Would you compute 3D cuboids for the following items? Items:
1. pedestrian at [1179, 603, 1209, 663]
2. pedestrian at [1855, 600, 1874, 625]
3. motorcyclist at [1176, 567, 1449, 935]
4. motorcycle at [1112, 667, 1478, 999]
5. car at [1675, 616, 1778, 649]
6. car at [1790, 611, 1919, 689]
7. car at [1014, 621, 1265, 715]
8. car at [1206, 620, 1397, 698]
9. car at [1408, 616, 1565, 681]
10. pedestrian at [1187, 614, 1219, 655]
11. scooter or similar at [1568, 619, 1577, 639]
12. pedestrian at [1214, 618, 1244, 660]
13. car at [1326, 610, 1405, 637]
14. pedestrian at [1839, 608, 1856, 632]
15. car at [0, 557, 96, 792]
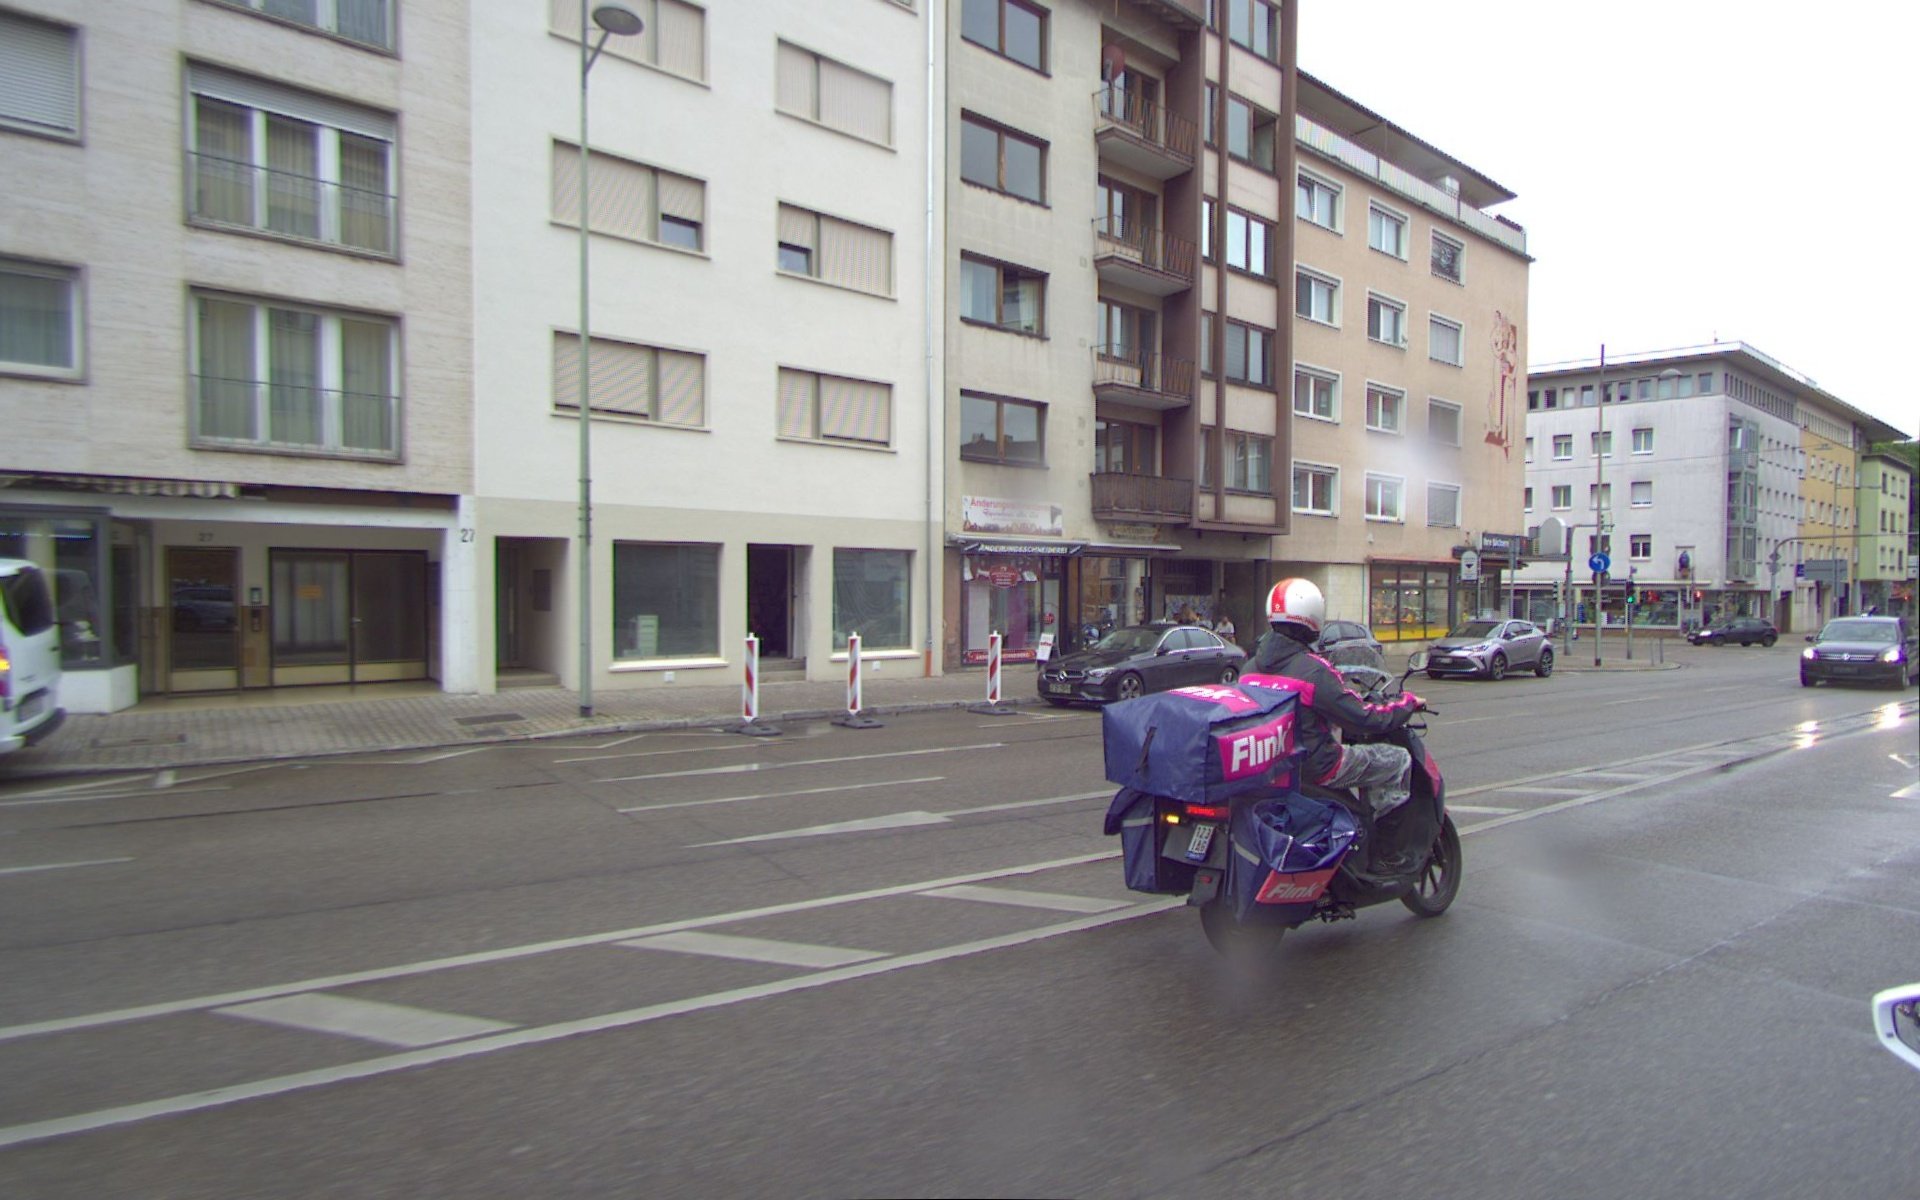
[{"bbox_3d":[6.375,0.886,27.350,0.536,1.604,0.667,1,1,38],"label":"pedestrian"},{"bbox_3d":[67.912,0.923,75.451,0.867,1.812,0.858,0,3,-40],"label":"pedestrian"},{"bbox_3d":[1.657,0.630,4.760,0.856,1.513,0.908,1,-1,-37],"label":"motorcyclist"},{"bbox_3d":[1.666,0.964,4.773,2.083,1.207,0.583,1,-1,-37],"label":"motorcycle"},{"bbox_3d":[38.780,1.619,50.869,3.920,1.648,1.698,0,-1,1],"label":"car"},{"bbox_3d":[21.313,1.125,23.815,4.220,1.669,1.846,1,-1,-41],"label":"car"},{"bbox_3d":[3.403,1.140,18.433,4.940,1.496,1.866,1,-2,-41],"label":"car"},{"bbox_3d":[7.471,1.191,21.781,4.483,1.496,1.976,1,-1,-41],"label":"car"},{"bbox_3d":[13.940,1.219,26.518,4.587,1.575,1.894,1,-1,-37],"label":"car"},{"bbox_3d":[6.964,0.978,28.809,0.626,1.163,0.603,1,0,-38],"label":"pedestrian"},{"bbox_3d":[34.986,1.654,57.362,0.359,1.110,1.133,-1,2,27],"label":"scooter or similar"},{"bbox_3d":[7.712,1.118,28.806,0.584,1.163,0.673,1,0,-10],"label":"pedestrian"},{"bbox_3d":[25.797,1.468,63.979,4.273,1.653,2.037,0,0,39],"label":"car"},{"bbox_3d":[59.102,1.326,66.894,0.646,1.603,0.681,0,3,-38],"label":"pedestrian"},{"bbox_3d":[-10.992,0.574,8.625,5.069,2.041,2.108,2,2,-31],"label":"car"}]
